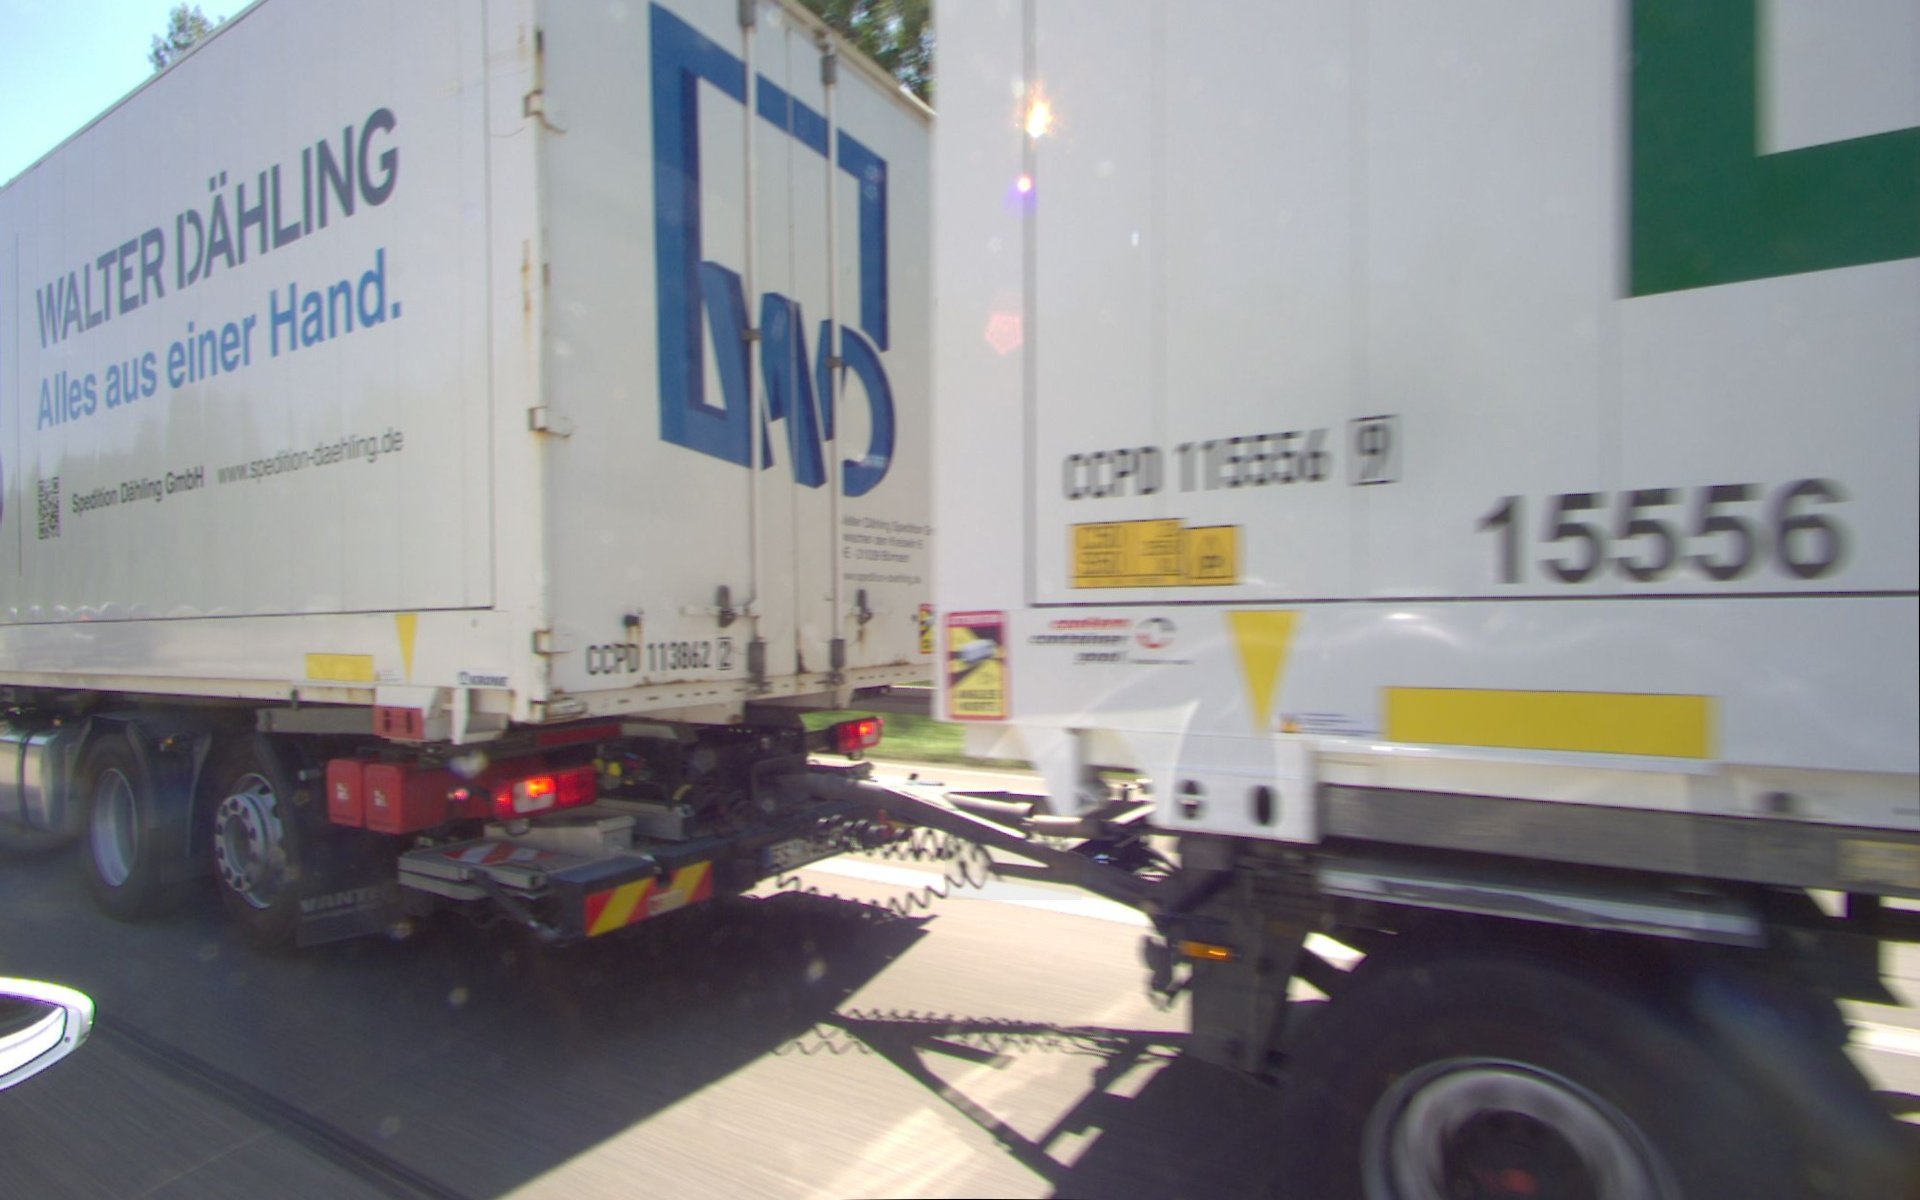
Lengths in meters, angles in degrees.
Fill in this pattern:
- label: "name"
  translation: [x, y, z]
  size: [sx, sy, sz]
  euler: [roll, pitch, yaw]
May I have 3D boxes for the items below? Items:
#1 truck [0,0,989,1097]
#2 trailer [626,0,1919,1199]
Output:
- label: "truck"
  translation: [-4.982, -0.529, 7.030]
  size: [10.473, 4.112, 2.675]
  euler: [0, -1, 33]
- label: "trailer"
  translation: [3.986, -0.634, 1.301]
  size: [9.919, 4.230, 2.675]
  euler: [0, -1, 32]
